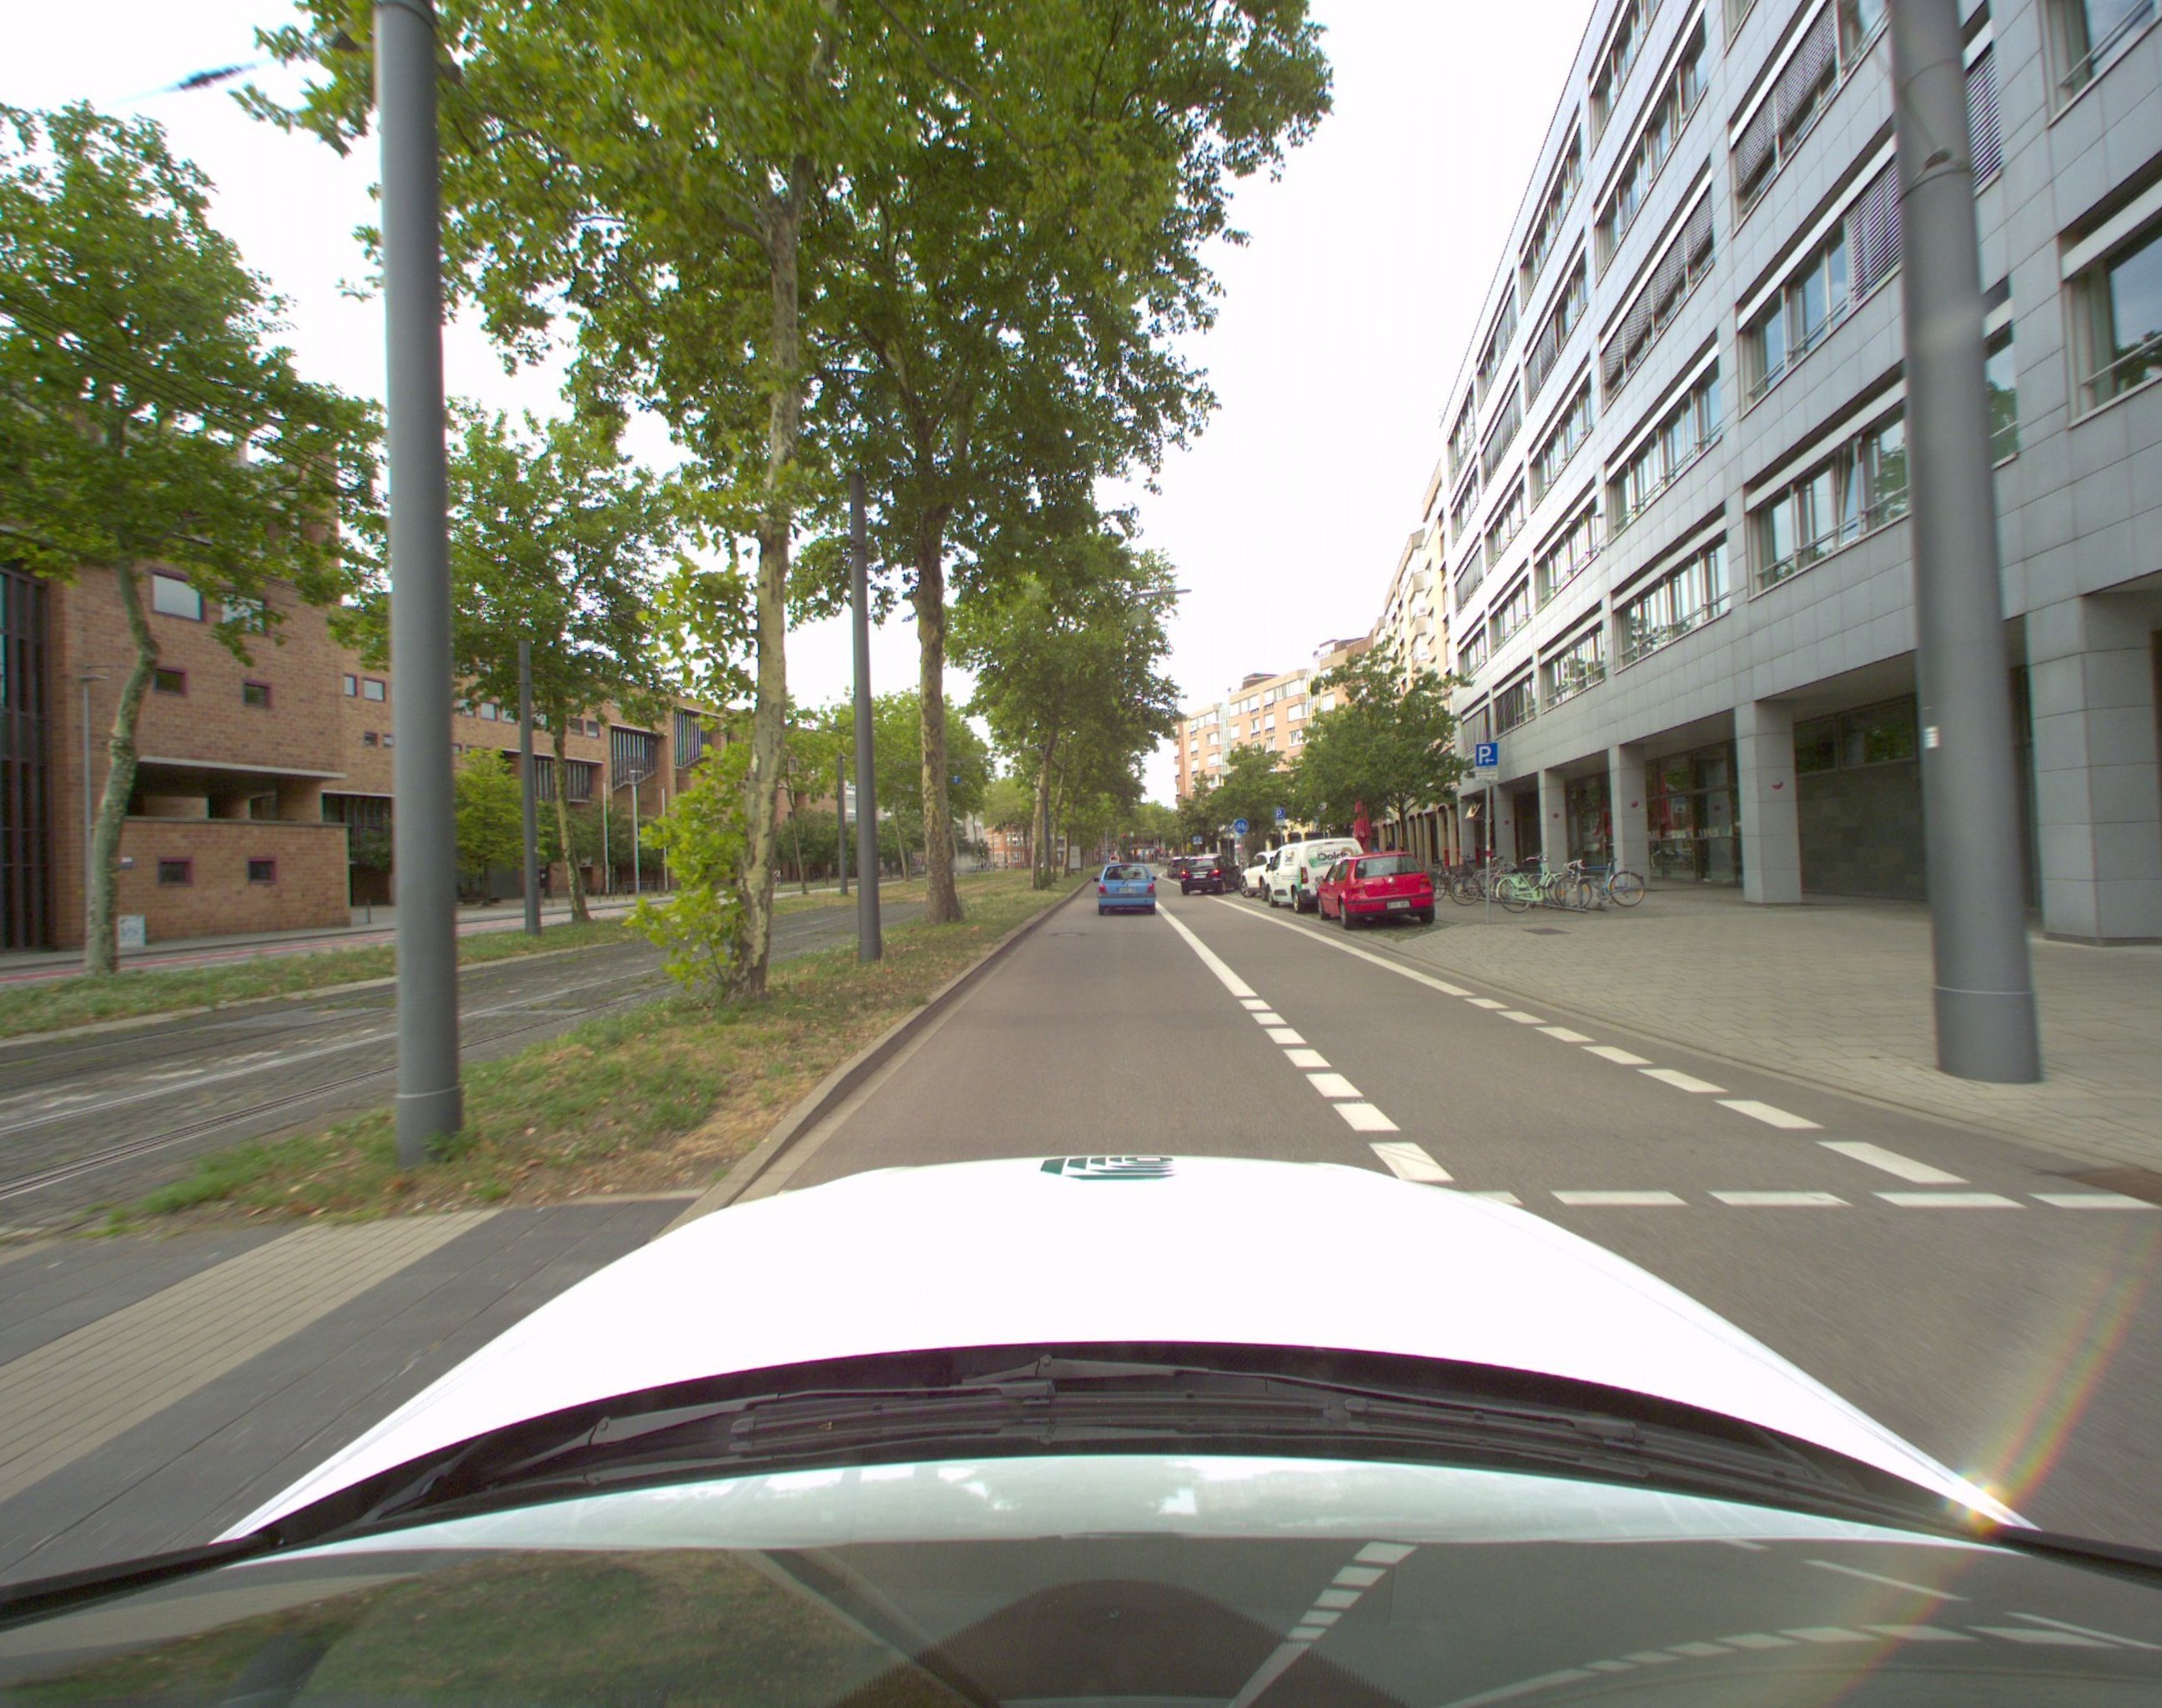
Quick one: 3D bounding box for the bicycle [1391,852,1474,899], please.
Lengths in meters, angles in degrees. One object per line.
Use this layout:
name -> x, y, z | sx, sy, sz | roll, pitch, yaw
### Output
bicycle -> 9.794, 0.599, 22.761 | 2.042, 1.197, 0.481 | -2, -1, 10

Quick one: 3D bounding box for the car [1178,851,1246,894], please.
car -> 5.638, 0.739, 34.541 | 1.759, 1.577, 4.329 | -4, -1, 23

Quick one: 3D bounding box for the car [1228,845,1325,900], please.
car -> 6.643, 0.592, 28.277 | 1.990, 1.602, 4.579 | -5, 0, -2

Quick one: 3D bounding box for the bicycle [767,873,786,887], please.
bicycle -> -26.889, 2.293, 71.960 | 0.665, 1.084, 2.097 | -2, 0, 6

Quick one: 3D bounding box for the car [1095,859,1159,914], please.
car -> 1.310, 0.874, 23.257 | 1.633, 1.386, 3.846 | -1, 0, 3

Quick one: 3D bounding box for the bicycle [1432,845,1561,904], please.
bicycle -> 9.651, 0.473, 18.968 | 2.622, 1.258, 0.655 | -2, 0, 2

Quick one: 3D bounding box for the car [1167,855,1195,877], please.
car -> 7.354, 0.855, 60.267 | 1.732, 1.519, 4.405 | -3, 0, 4

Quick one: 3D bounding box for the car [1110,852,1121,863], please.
car -> 6.194, 0.619, 144.719 | 1.924, 1.926, 4.959 | -2, 0, 3

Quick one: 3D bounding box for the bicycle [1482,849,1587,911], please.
bicycle -> 9.133, 0.516, 16.407 | 1.845, 1.139, 0.492 | -3, 0, -5

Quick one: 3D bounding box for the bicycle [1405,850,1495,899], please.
bicycle -> 9.587, 0.537, 21.221 | 2.042, 1.197, 0.481 | -2, -1, 10

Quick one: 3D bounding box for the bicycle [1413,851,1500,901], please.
bicycle -> 9.522, 0.553, 20.689 | 1.897, 1.197, 0.481 | -2, -1, 10

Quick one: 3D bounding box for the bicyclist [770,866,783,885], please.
bicyclist -> -26.906, 1.918, 71.906 | 0.661, 1.590, 0.986 | -2, 0, 5

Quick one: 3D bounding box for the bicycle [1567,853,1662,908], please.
bicycle -> 10.445, 0.511, 15.955 | 1.554, 0.987, 0.422 | -3, 0, -2

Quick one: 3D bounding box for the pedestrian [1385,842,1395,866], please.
pedestrian -> 20.317, -0.022, 53.568 | 0.508, 1.555, 0.475 | -3, 0, 15

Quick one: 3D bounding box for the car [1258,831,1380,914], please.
car -> 6.202, 0.450, 21.848 | 1.821, 1.864, 4.647 | -4, 0, 0

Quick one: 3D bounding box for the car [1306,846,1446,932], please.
car -> 5.935, 0.639, 16.924 | 1.713, 1.432, 4.261 | -5, 0, 7

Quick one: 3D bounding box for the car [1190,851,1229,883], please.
car -> 7.231, 0.716, 46.150 | 1.852, 1.653, 4.170 | -3, 0, 6

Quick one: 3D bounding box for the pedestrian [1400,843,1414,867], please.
pedestrian -> 21.315, 0.067, 53.281 | 0.704, 1.555, 0.802 | -3, 0, 15

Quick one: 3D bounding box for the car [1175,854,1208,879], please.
car -> 7.427, 0.804, 55.116 | 1.708, 1.519, 4.205 | -4, 0, 2
